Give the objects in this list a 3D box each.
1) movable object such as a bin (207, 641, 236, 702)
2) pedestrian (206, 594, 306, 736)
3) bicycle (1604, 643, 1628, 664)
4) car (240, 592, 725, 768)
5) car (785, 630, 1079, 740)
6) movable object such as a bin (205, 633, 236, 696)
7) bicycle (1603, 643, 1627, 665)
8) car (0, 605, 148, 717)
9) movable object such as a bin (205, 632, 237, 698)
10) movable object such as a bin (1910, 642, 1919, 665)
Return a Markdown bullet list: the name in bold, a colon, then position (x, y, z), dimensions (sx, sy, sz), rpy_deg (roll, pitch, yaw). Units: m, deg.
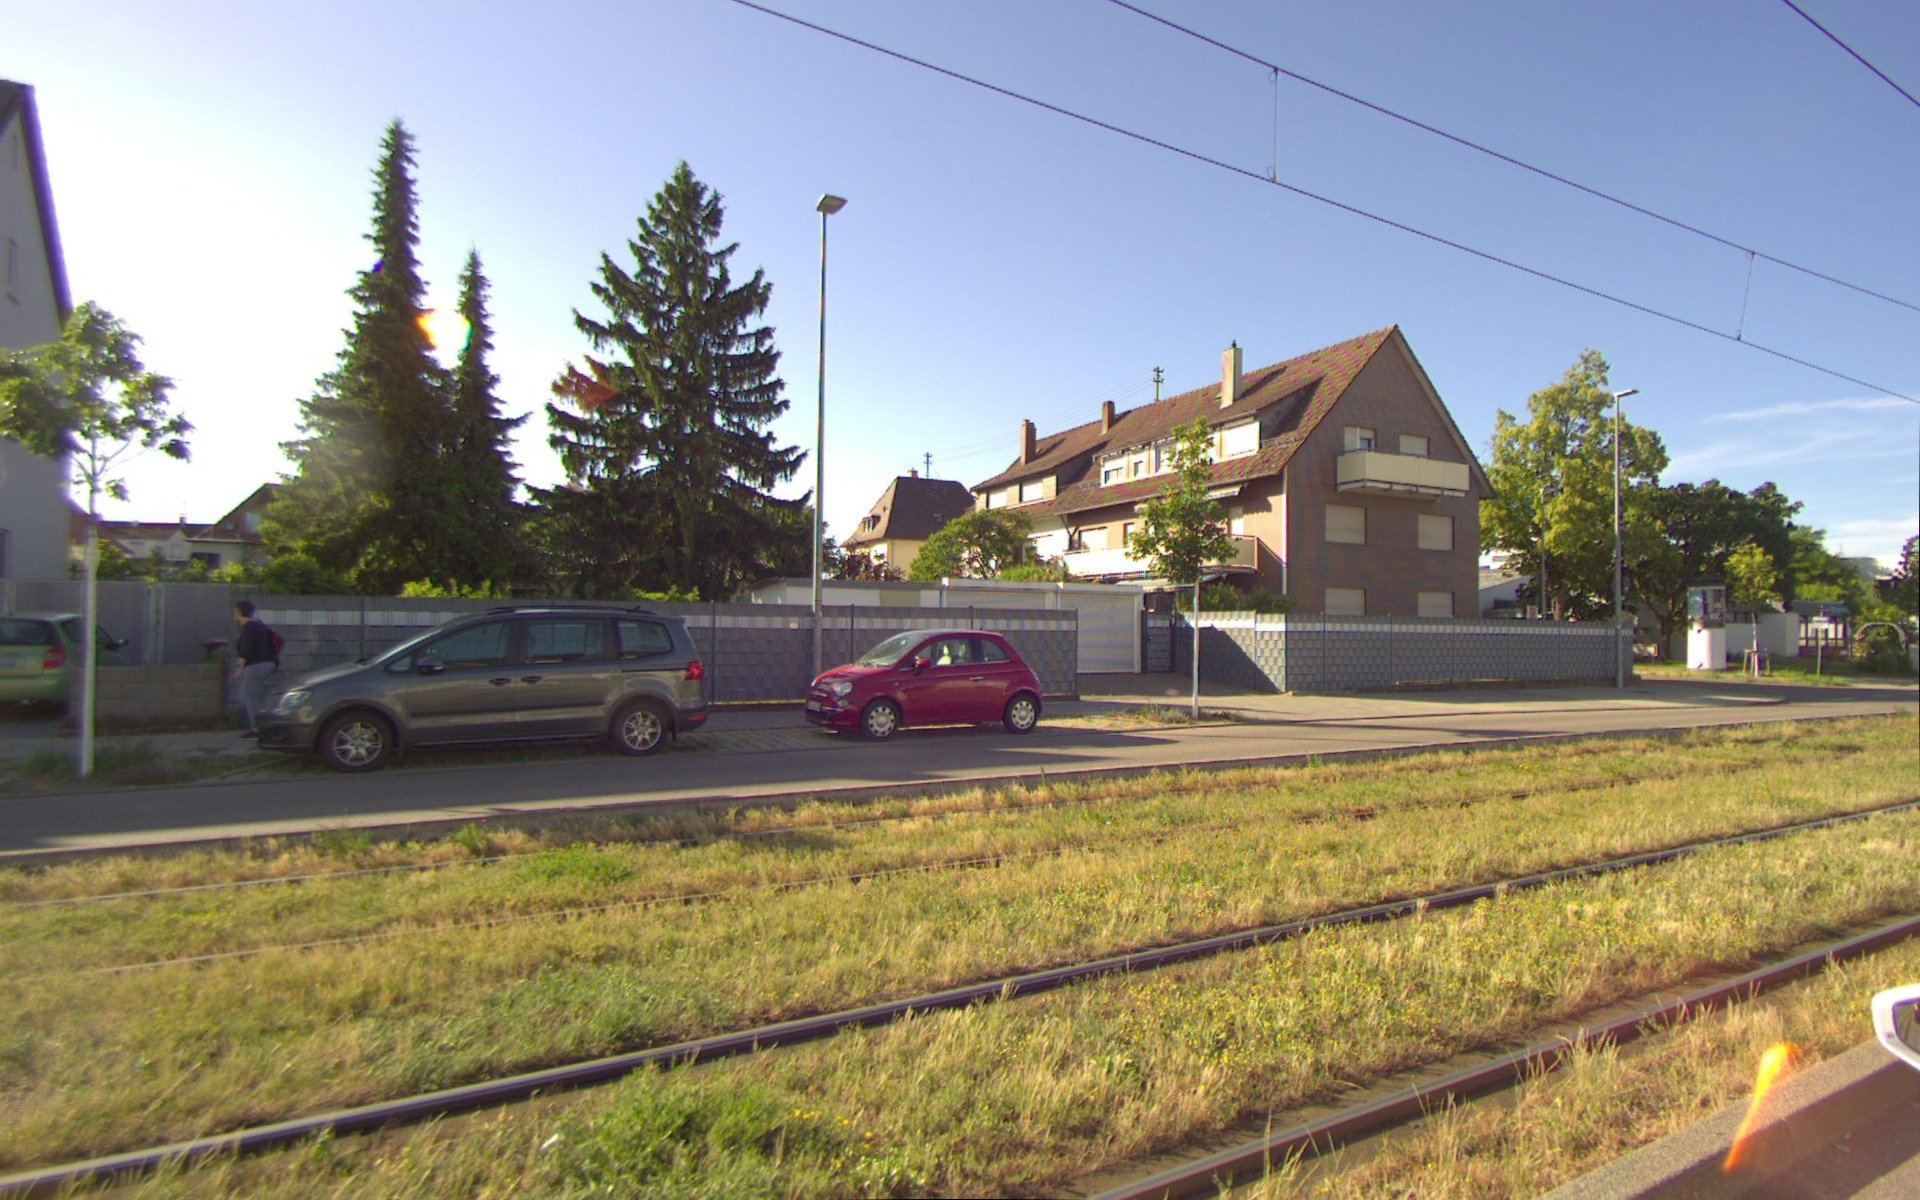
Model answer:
- **movable object such as a bin**: position (-12.100, 1.163, 16.463), dimensions (0.293, 0.982, 0.589), rpy_deg (1, -2, -29)
- **pedestrian**: position (-8.624, 0.780, 12.341), dimensions (0.910, 1.662, 0.692), rpy_deg (2, 0, -32)
- **bicycle**: position (34.532, 2.815, 52.859), dimensions (1.026, 1.073, 0.303), rpy_deg (-1, -2, 44)
- **car**: position (-5.394, 0.846, 11.831), dimensions (4.788, 1.707, 1.811), rpy_deg (2, 0, -30)
- **car**: position (-0.376, 1.174, 14.814), dimensions (4.029, 1.423, 1.688), rpy_deg (2, -2, -30)
- **movable object such as a bin**: position (-13.010, 1.126, 17.684), dimensions (0.333, 1.051, 0.630), rpy_deg (2, 0, -29)
- **bicycle**: position (34.284, 2.815, 52.584), dimensions (1.042, 1.097, 0.303), rpy_deg (-1, -2, 44)
- **car**: position (-13.686, 0.837, 15.003), dimensions (1.684, 1.493, 3.598), rpy_deg (2, -1, -28)
- **movable object such as a bin**: position (-12.564, 1.097, 17.077), dimensions (0.333, 1.077, 0.586), rpy_deg (2, -1, -29)
- **movable object such as a bin**: position (63.193, 3.525, 65.990), dimensions (1.236, 1.452, 0.663), rpy_deg (2, 0, -22)
